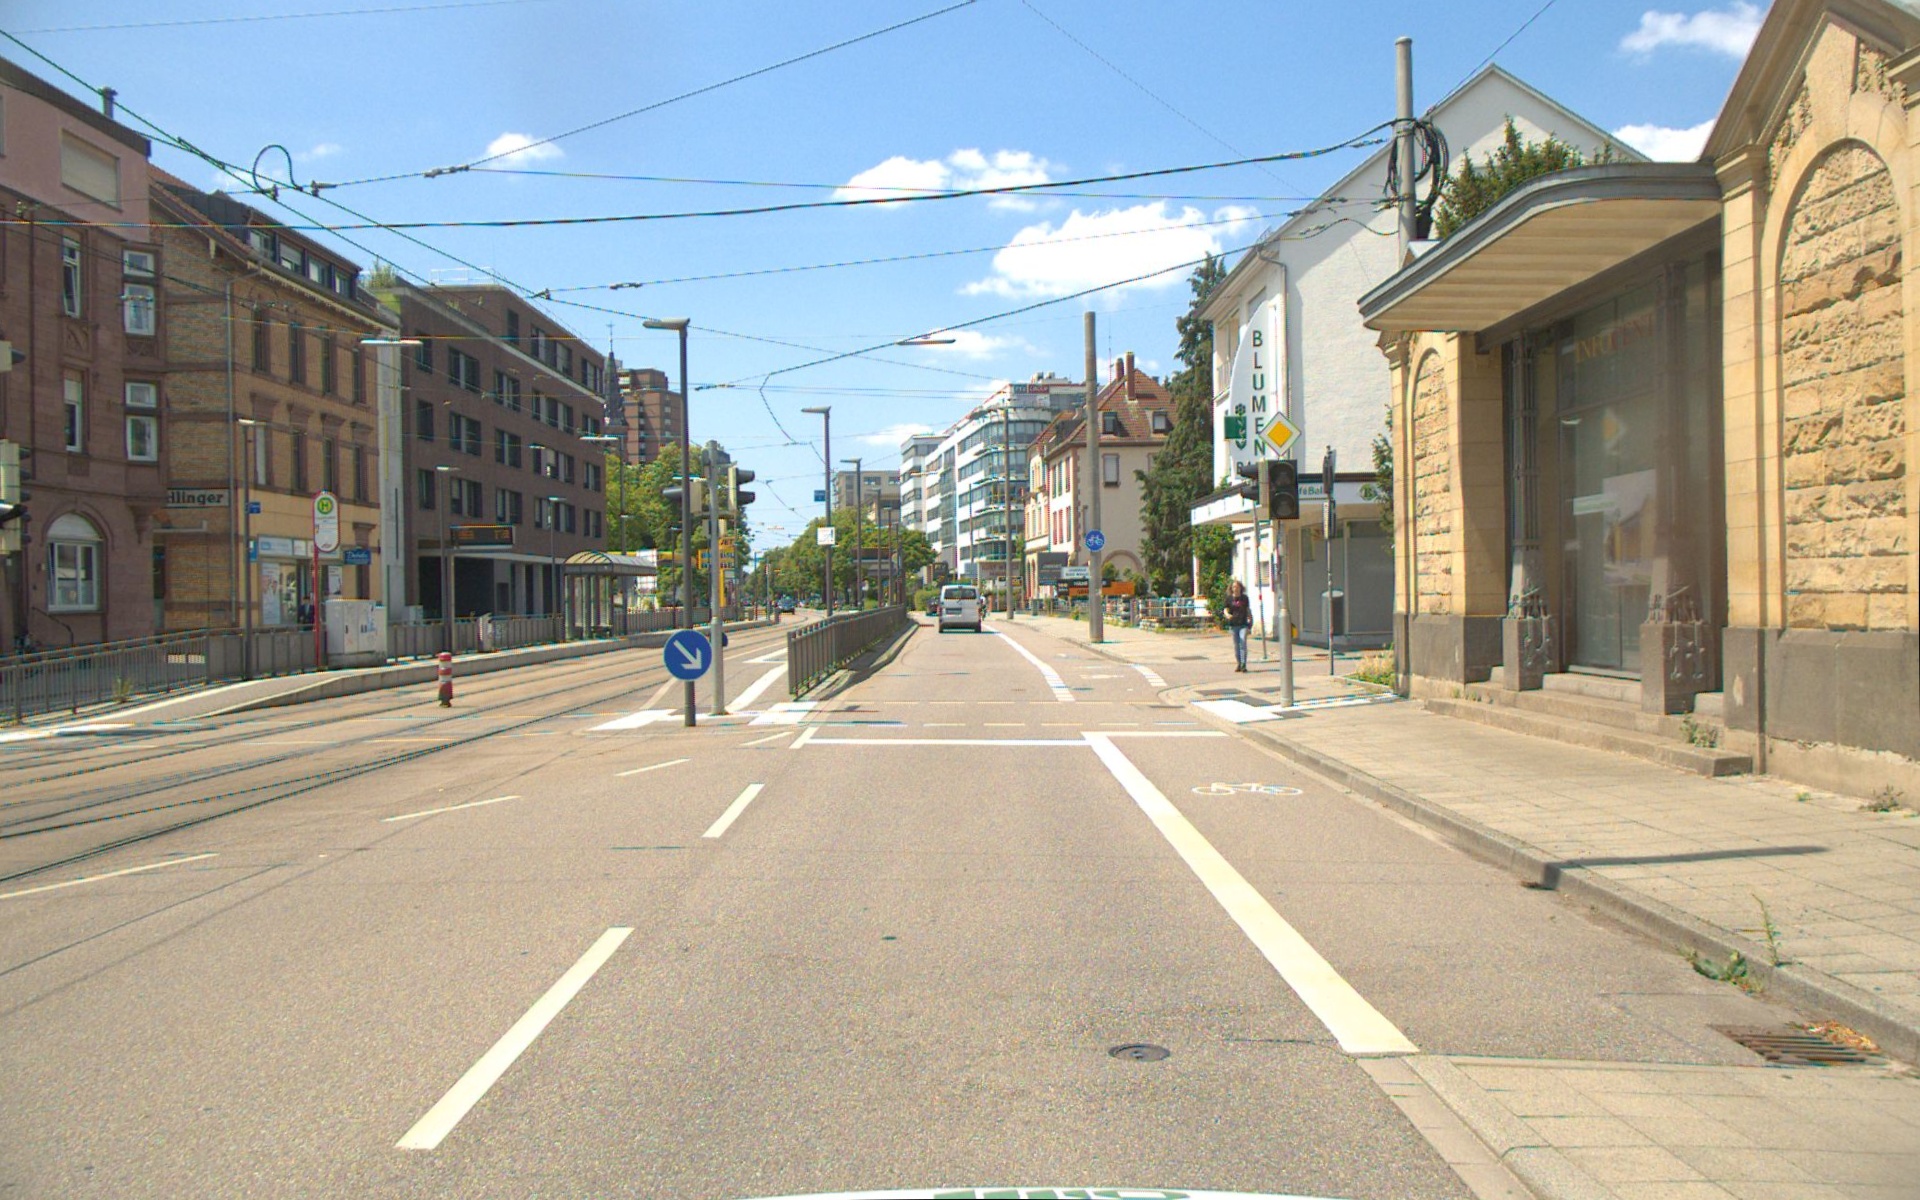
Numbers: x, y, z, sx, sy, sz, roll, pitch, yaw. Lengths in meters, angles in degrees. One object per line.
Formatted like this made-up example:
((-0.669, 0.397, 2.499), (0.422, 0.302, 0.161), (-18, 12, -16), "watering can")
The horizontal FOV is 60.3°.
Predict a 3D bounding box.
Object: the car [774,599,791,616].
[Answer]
((-19.027, 0.823, 177.395), (1.667, 1.644, 3.751), (-4, -2, -8), "car")

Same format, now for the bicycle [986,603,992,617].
((2.149, 0.744, 122.714), (0.349, 0.956, 1.317), (-3, -1, 0), "bicycle")

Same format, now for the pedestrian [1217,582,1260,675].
((4.890, 0.491, 29.035), (0.565, 1.583, 0.786), (-3, -1, 3), "pedestrian")

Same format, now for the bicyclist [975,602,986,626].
((1.281, 0.868, 102.766), (0.580, 1.421, 0.841), (-1, 0, -5), "bicyclist")

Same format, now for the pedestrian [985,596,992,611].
((2.124, 0.248, 122.738), (0.473, 1.072, 0.537), (-3, -1, 0), "pedestrian")

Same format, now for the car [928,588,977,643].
((-0.338, 0.591, 65.935), (1.717, 2.048, 3.998), (-2, 1, -3), "car")

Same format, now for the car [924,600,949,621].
((-2.132, 0.934, 148.996), (1.827, 1.716, 4.994), (-2, 0, -6), "car")

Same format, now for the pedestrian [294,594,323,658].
((-21.034, 0.831, 53.410), (0.605, 2.049, 0.810), (-2, 0, -3), "pedestrian")
